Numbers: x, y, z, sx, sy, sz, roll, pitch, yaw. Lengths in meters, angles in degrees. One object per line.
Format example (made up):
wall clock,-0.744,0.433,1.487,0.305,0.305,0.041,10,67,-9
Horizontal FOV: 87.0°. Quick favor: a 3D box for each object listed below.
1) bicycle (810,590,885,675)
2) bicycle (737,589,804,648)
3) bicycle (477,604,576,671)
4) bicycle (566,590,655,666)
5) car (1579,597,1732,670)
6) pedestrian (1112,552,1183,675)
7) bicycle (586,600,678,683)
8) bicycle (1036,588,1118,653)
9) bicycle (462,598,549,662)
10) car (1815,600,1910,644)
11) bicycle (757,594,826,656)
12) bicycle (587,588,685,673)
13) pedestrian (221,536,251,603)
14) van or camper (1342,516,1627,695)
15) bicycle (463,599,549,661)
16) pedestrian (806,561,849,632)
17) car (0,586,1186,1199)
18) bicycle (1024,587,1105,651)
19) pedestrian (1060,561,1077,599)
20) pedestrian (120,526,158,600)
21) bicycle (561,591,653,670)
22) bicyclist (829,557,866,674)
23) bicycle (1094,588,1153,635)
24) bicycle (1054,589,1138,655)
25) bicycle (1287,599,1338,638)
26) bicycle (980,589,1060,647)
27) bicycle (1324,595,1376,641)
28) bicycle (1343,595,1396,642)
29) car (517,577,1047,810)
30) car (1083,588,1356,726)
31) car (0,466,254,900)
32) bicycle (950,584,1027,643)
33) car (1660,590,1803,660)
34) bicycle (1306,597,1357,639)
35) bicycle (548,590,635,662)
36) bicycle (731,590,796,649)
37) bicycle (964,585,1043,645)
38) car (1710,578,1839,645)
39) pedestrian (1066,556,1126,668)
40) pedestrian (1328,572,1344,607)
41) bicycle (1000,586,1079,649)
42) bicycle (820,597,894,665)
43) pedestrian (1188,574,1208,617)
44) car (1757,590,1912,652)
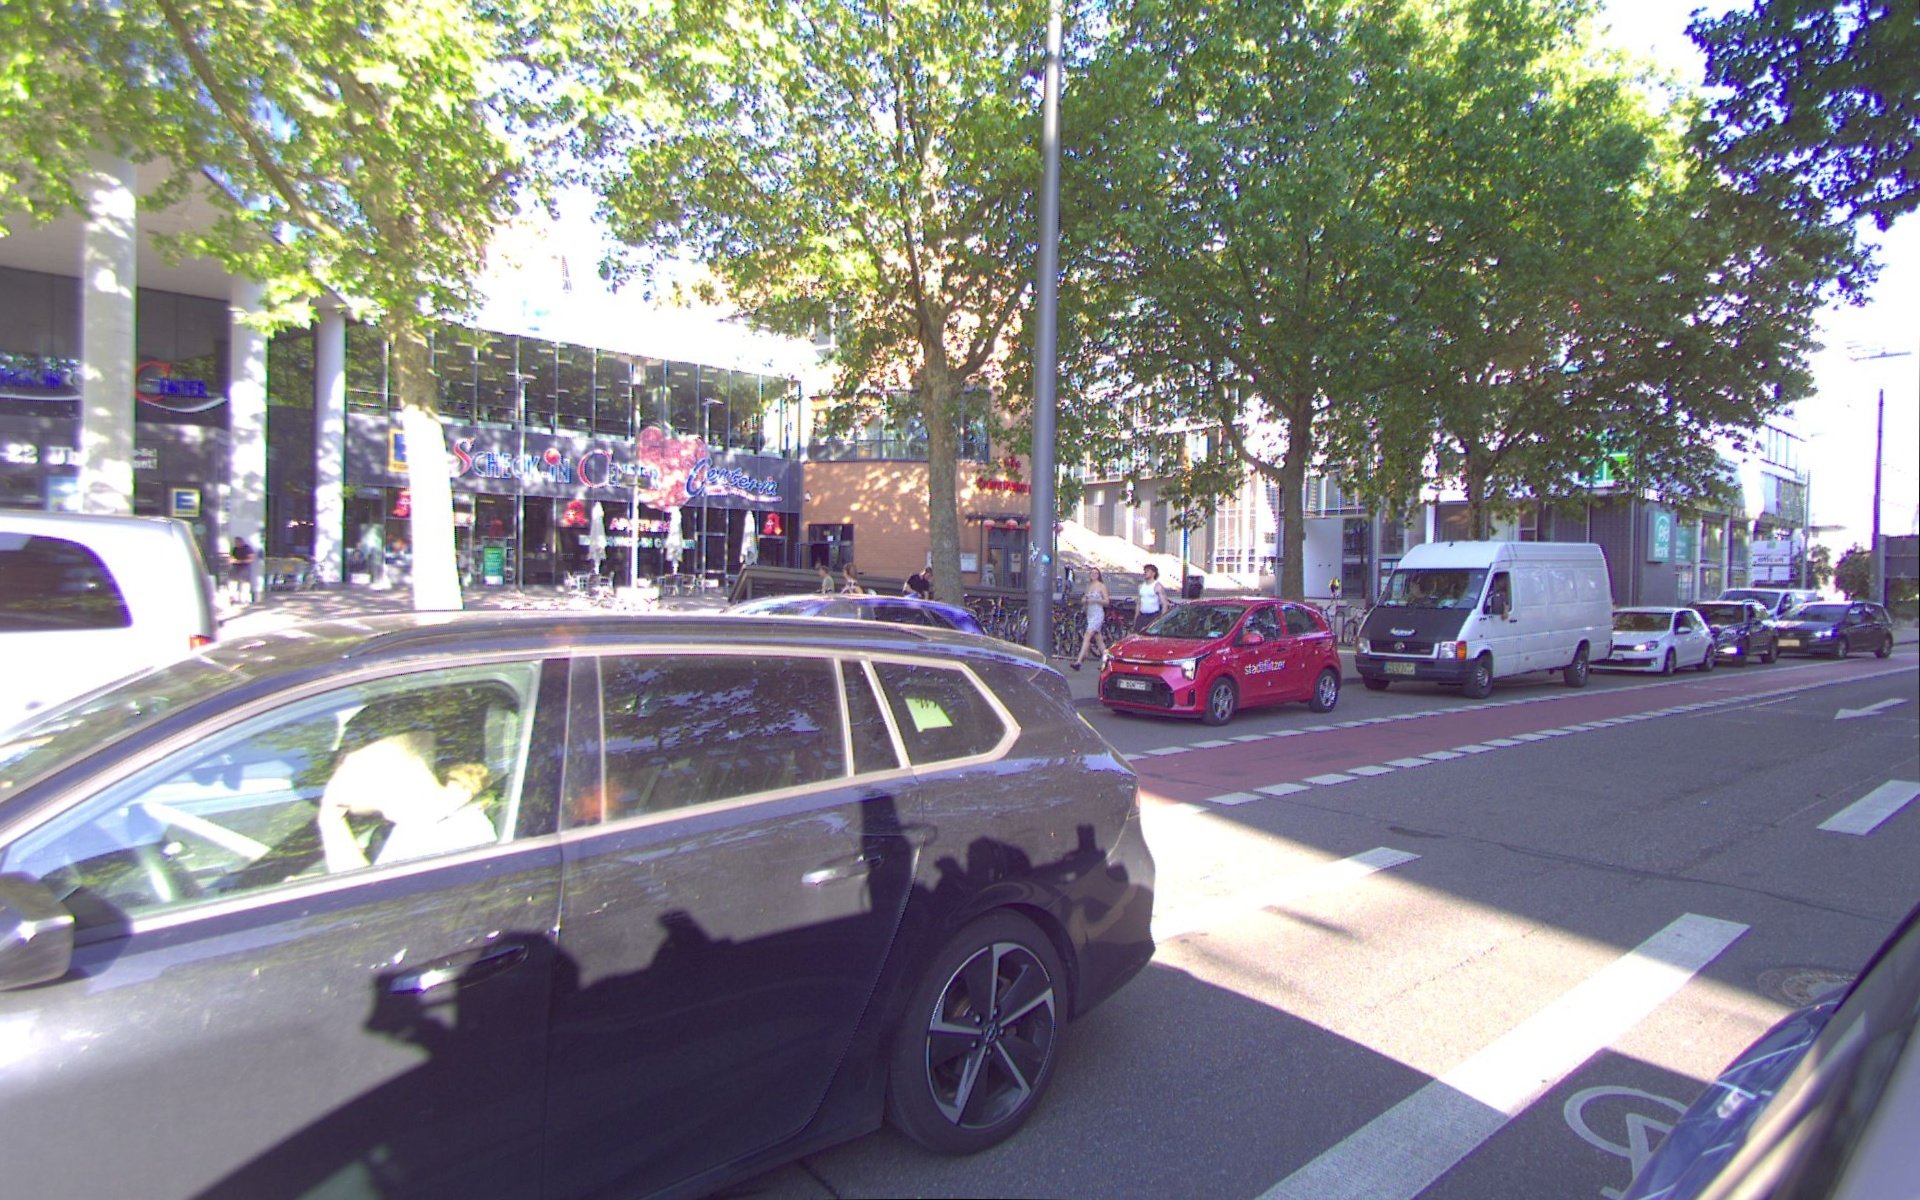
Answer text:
bicycle,-1.749,0.485,15.738,1.126,1.271,0.379,0,1,-41
bicycle,-3.645,0.345,19.503,1.202,1.110,0.444,0,1,-40
bicycle,-6.240,0.520,14.594,1.231,0.898,0.462,0,1,-40
bicycle,-5.361,0.407,15.586,0.372,1.110,1.269,2,1,41
car,15.335,0.678,22.256,3.927,1.446,1.683,0,1,-38
pedestrian,2.990,0.209,16.155,0.642,1.867,0.801,7,4,45
bicycle,-4.582,0.566,14.178,1.202,1.110,0.269,0,1,-40
bicycle,2.297,0.389,19.748,1.818,1.209,0.448,0,1,-41
bicycle,-6.960,0.455,15.540,1.198,0.930,0.442,1,1,-22
car,31.735,0.736,35.567,3.927,1.394,1.802,0,2,-38
bicycle,-3.123,0.445,18.829,1.202,1.110,0.427,0,1,-40
bicycle,-4.437,0.400,13.881,1.202,1.110,0.413,0,1,-40
pedestrian,-18.769,-0.798,26.248,0.506,1.707,0.604,1,1,-23
van or camper,9.280,0.069,17.570,6.456,2.611,1.998,0,0,-39
bicycle,-7.123,0.464,15.918,1.198,0.938,0.465,1,1,-22
pedestrian,-3.296,-0.090,25.185,0.798,1.728,0.712,2,1,26
car,-1.435,0.690,2.457,4.196,1.432,1.742,0,0,-41
bicycle,2.109,0.363,20.256,1.818,1.209,0.484,0,1,-41
pedestrian,5.919,-1.100,55.106,0.861,2.062,0.585,1,1,6
pedestrian,-20.507,-0.918,25.273,0.883,1.805,0.594,2,1,41
bicycle,-5.159,0.425,14.837,1.202,1.110,0.396,0,1,-40
bicyclist,-1.751,0.230,15.754,0.392,1.782,0.390,0,1,-41
bicycle,4.389,0.306,27.064,1.759,1.209,0.517,0,2,-41
bicycle,2.619,0.400,19.362,1.818,1.209,0.481,0,1,-41
bicycle,9.924,0.506,28.451,1.818,1.046,0.515,0,2,-41
bicycle,1.254,0.353,20.966,1.818,1.139,0.484,0,2,-41
bicycle,10.663,0.485,27.629,1.818,1.209,0.495,0,2,-41
bicycle,11.031,0.479,27.230,1.818,1.209,0.521,0,2,-41
car,-1.342,0.595,8.684,4.177,1.503,1.742,0,2,-41
car,3.364,0.610,12.830,3.588,1.476,1.605,0,1,-41
car,-6.222,0.357,4.392,5.008,2.004,1.940,0,2,-41
bicycle,0.635,0.272,21.699,1.818,1.209,0.434,0,1,-41
car,19.702,0.591,25.792,4.148,1.640,1.819,0,1,-36
bicycle,10.307,0.485,28.041,1.766,1.108,0.522,0,2,-41
bicycle,-5.926,0.395,16.321,0.414,1.110,1.269,2,1,41
bicycle,-3.889,0.374,20.046,1.202,1.110,0.429,0,1,-40
bicycle,0.933,0.298,21.345,1.818,1.209,0.458,0,1,-41
car,26.466,0.345,32.854,4.863,2.020,1.968,0,1,-35
pedestrian,2.254,0.179,16.763,0.646,1.799,0.752,2,1,43
pedestrian,23.837,-0.653,64.104,0.826,2.183,0.852,2,1,26
bicycle,1.627,0.340,20.517,1.818,1.209,0.447,0,1,-41
bicycle,-1.734,0.504,17.092,1.202,1.110,0.420,0,1,-40
pedestrian,8.944,-0.164,38.008,0.707,1.578,0.638,1,1,14
car,25.179,0.580,29.125,4.242,1.640,1.970,0,1,-28
